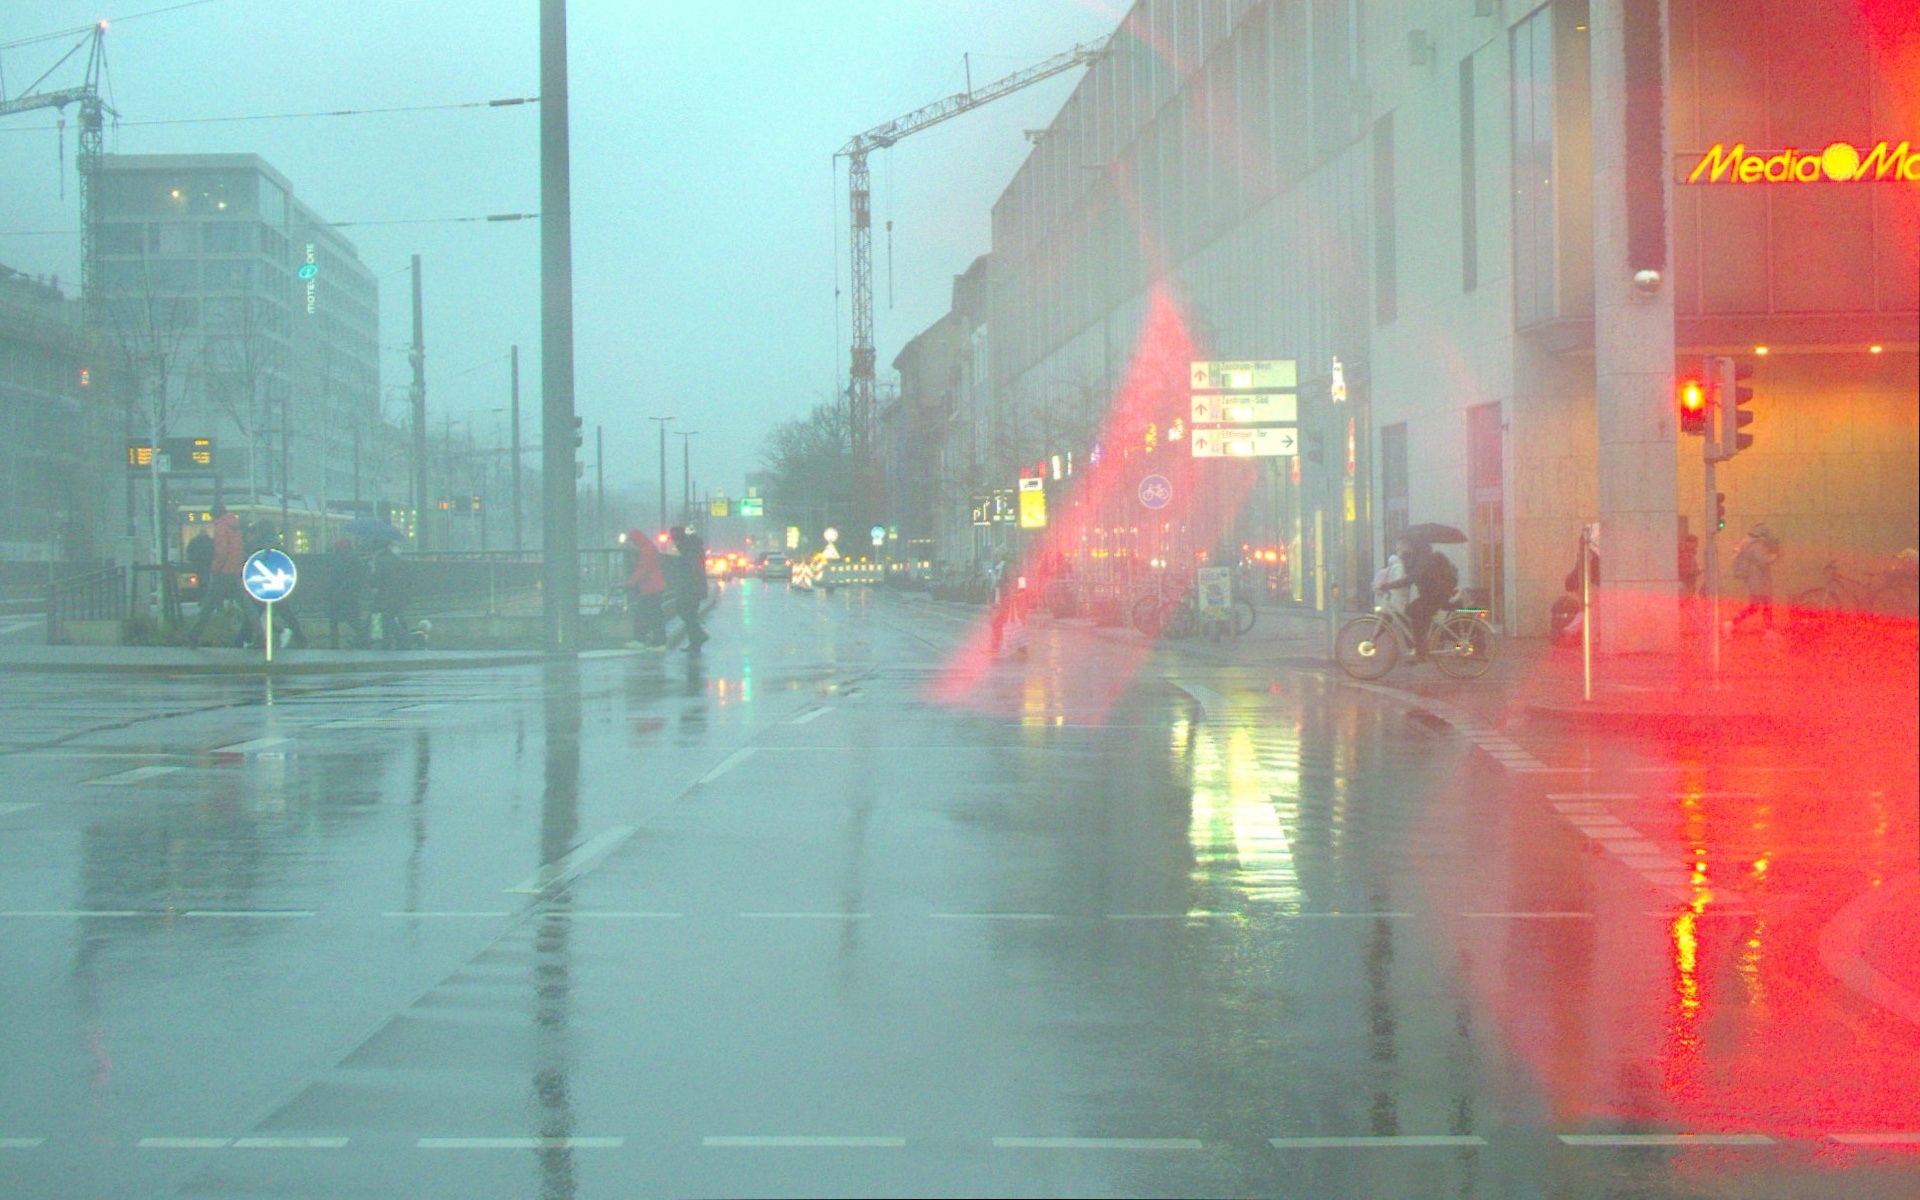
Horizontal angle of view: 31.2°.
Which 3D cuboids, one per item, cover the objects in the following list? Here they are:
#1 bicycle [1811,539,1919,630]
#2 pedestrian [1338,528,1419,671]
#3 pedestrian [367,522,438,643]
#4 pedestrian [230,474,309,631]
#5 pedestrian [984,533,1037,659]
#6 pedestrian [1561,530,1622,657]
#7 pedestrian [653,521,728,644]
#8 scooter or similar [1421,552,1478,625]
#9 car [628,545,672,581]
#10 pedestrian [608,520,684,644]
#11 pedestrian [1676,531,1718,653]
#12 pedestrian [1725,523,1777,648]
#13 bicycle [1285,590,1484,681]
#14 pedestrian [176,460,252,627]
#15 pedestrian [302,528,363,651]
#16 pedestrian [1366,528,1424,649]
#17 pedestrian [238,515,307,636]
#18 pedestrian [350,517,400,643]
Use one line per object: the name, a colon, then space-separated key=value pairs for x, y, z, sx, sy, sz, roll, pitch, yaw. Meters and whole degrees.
bicycle: x=13.855 y=-0.238 z=50.784 sx=2.424 sy=1.325 sz=0.635 roll=-1 pitch=1 yaw=-5
pedestrian: x=4.635 y=-0.013 z=38.114 sx=0.814 sy=1.564 sz=0.536 roll=-1 pitch=1 yaw=0
pedestrian: x=-7.468 y=-0.235 z=46.059 sx=0.809 sy=1.602 sz=0.745 roll=-1 pitch=1 yaw=-1
pedestrian: x=-8.892 y=-0.614 z=44.264 sx=0.775 sy=2.007 sz=0.613 roll=-1 pitch=1 yaw=-38
pedestrian: x=0.711 y=-0.064 z=48.459 sx=0.703 sy=1.754 sz=0.652 roll=-1 pitch=1 yaw=-1
pedestrian: x=8.797 y=-0.094 z=47.922 sx=0.702 sy=1.754 sz=0.667 roll=-1 pitch=1 yaw=-1
pedestrian: x=-3.727 y=-0.240 z=47.589 sx=0.843 sy=1.682 sz=0.677 roll=-1 pitch=1 yaw=15
scooter or similar: x=6.739 y=-0.153 z=47.316 sx=0.741 sy=0.990 sz=0.400 roll=-1 pitch=1 yaw=12
car: x=-15.818 y=-1.863 z=175.541 sx=1.888 sy=1.777 sz=3.714 roll=1 pitch=0 yaw=-1
pedestrian: x=-4.294 y=-0.250 z=47.025 sx=0.831 sy=1.673 sz=0.619 roll=-1 pitch=1 yaw=18
pedestrian: x=10.720 y=-0.117 z=49.997 sx=0.512 sy=1.754 sz=0.374 roll=-1 pitch=1 yaw=-1
pedestrian: x=11.285 y=-0.211 z=49.054 sx=0.617 sy=1.754 sz=0.482 roll=-1 pitch=1 yaw=-1
bicycle: x=4.702 y=0.390 z=38.127 sx=2.128 sy=0.988 sz=0.541 roll=1 pitch=0 yaw=0
pedestrian: x=-9.392 y=-0.714 z=43.284 sx=0.686 sy=2.080 sz=0.613 roll=-1 pitch=1 yaw=-40
pedestrian: x=-8.387 y=-0.144 z=45.945 sx=0.706 sy=1.613 sz=0.613 roll=-1 pitch=1 yaw=-3
pedestrian: x=6.009 y=-0.161 z=47.459 sx=0.741 sy=1.661 sz=0.400 roll=-1 pitch=1 yaw=12
pedestrian: x=-9.349 y=-0.336 z=46.740 sx=0.706 sy=1.613 sz=0.680 roll=-1 pitch=1 yaw=-30
pedestrian: x=-8.168 y=-0.282 z=48.008 sx=0.619 sy=1.740 sz=0.613 roll=-1 pitch=1 yaw=-6
